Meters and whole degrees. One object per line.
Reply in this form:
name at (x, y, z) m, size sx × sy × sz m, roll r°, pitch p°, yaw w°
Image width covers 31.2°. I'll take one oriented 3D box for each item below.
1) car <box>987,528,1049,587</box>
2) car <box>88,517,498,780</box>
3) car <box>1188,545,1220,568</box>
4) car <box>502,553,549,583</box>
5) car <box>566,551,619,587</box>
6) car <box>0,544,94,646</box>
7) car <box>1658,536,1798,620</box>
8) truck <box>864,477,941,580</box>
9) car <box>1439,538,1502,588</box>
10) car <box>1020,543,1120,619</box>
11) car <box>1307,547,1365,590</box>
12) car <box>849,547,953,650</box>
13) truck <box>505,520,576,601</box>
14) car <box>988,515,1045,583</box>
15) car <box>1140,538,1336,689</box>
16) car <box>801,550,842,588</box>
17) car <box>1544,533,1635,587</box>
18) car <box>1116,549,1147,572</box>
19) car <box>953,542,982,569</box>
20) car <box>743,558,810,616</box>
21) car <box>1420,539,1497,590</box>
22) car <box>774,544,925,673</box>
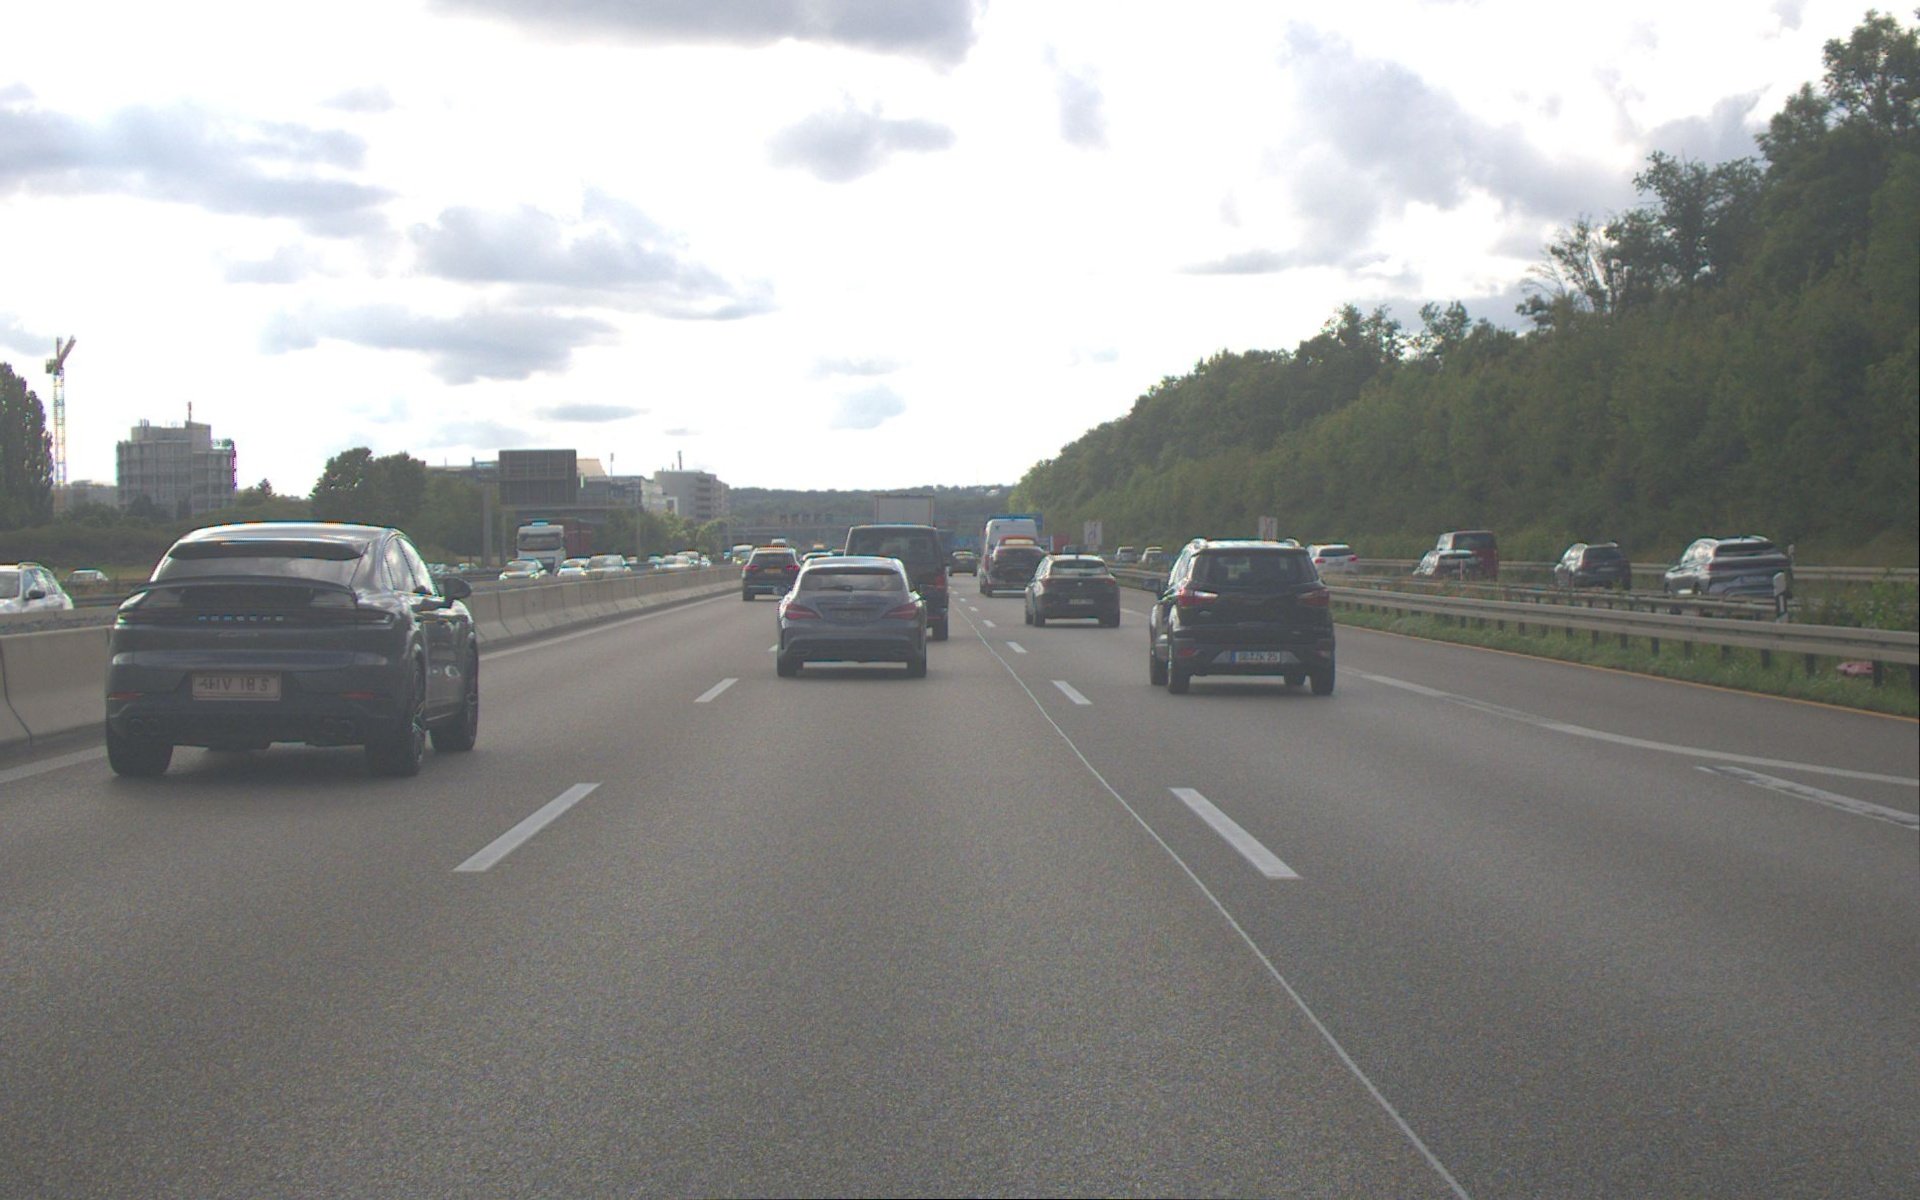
car at (1.911, -1.435, 114.858) m, size 1.913 × 1.912 × 4.031 m, roll 0°, pitch 1°, yaw -1°
car at (-4.522, 0.257, 24.152) m, size 1.912 × 1.630 × 5.500 m, roll 0°, pitch 1°, yaw -1°
car at (16.470, -2.917, 231.998) m, size 1.752 × 1.512 × 4.191 m, roll 0°, pitch 1°, yaw -2°
car at (-19.170, -1.408, 151.845) m, size 1.580 × 1.280 × 4.241 m, roll 0°, pitch 1°, yaw 0°
car at (-14.966, -1.273, 140.303) m, size 1.757 × 1.398 × 4.074 m, roll 0°, pitch 1°, yaw 0°
car at (-13.815, -0.100, 49.346) m, size 1.666 × 1.397 × 4.534 m, roll -1°, pitch 1°, yaw -1°
car at (16.045, -0.493, 72.003) m, size 1.846 × 1.644 × 4.306 m, roll -2°, pitch 1°, yaw -1°
truck at (-2.565, -3.157, 153.471) m, size 3.263 × 4.360 × 11.027 m, roll 1°, pitch 1°, yaw -1°
car at (18.661, -1.357, 125.808) m, size 1.595 × 1.798 × 3.825 m, roll 0°, pitch 1°, yaw -2°
car at (2.233, -0.416, 70.503) m, size 1.832 × 1.516 × 4.225 m, roll 0°, pitch 1°, yaw -1°
car at (14.944, -1.257, 136.799) m, size 1.752 × 1.689 × 4.190 m, roll 0°, pitch 1°, yaw -1°
car at (-1.025, -0.057, 59.477) m, size 1.720 × 1.718 × 4.392 m, roll 0°, pitch 1°, yaw -1°
truck at (-22.866, -2.185, 187.762) m, size 3.046 × 4.274 × 8.589 m, roll 0°, pitch 1°, yaw -1°
car at (1.985, -1.813, 121.766) m, size 1.873 × 2.349 × 4.282 m, roll 0°, pitch 1°, yaw -1°
car at (2.971, 0.106, 37.450) m, size 1.697 × 1.559 × 4.114 m, roll 0°, pitch 1°, yaw -2°
car at (-5.950, -1.356, 147.881) m, size 1.697 × 1.605 × 4.114 m, roll 0°, pitch 1°, yaw -2°
car at (18.933, -1.230, 103.545) m, size 1.728 × 1.540 × 4.306 m, roll -2°, pitch 1°, yaw -2°
car at (11.556, -2.652, 231.829) m, size 1.729 × 1.528 × 4.453 m, roll -1°, pitch 1°, yaw -1°
car at (0.448, -2.775, 214.407) m, size 1.752 × 1.689 × 4.190 m, roll 0°, pitch 1°, yaw -1°
car at (-5.507, -0.409, 103.458) m, size 1.873 × 1.692 × 4.072 m, roll 0°, pitch 1°, yaw -1°
car at (15.401, -1.100, 106.337) m, size 1.595 × 1.540 × 4.191 m, roll 0°, pitch 1°, yaw -2°
car at (-1.310, 0.060, 41.668) m, size 1.720 × 1.474 × 4.392 m, roll 0°, pitch 1°, yaw -1°
